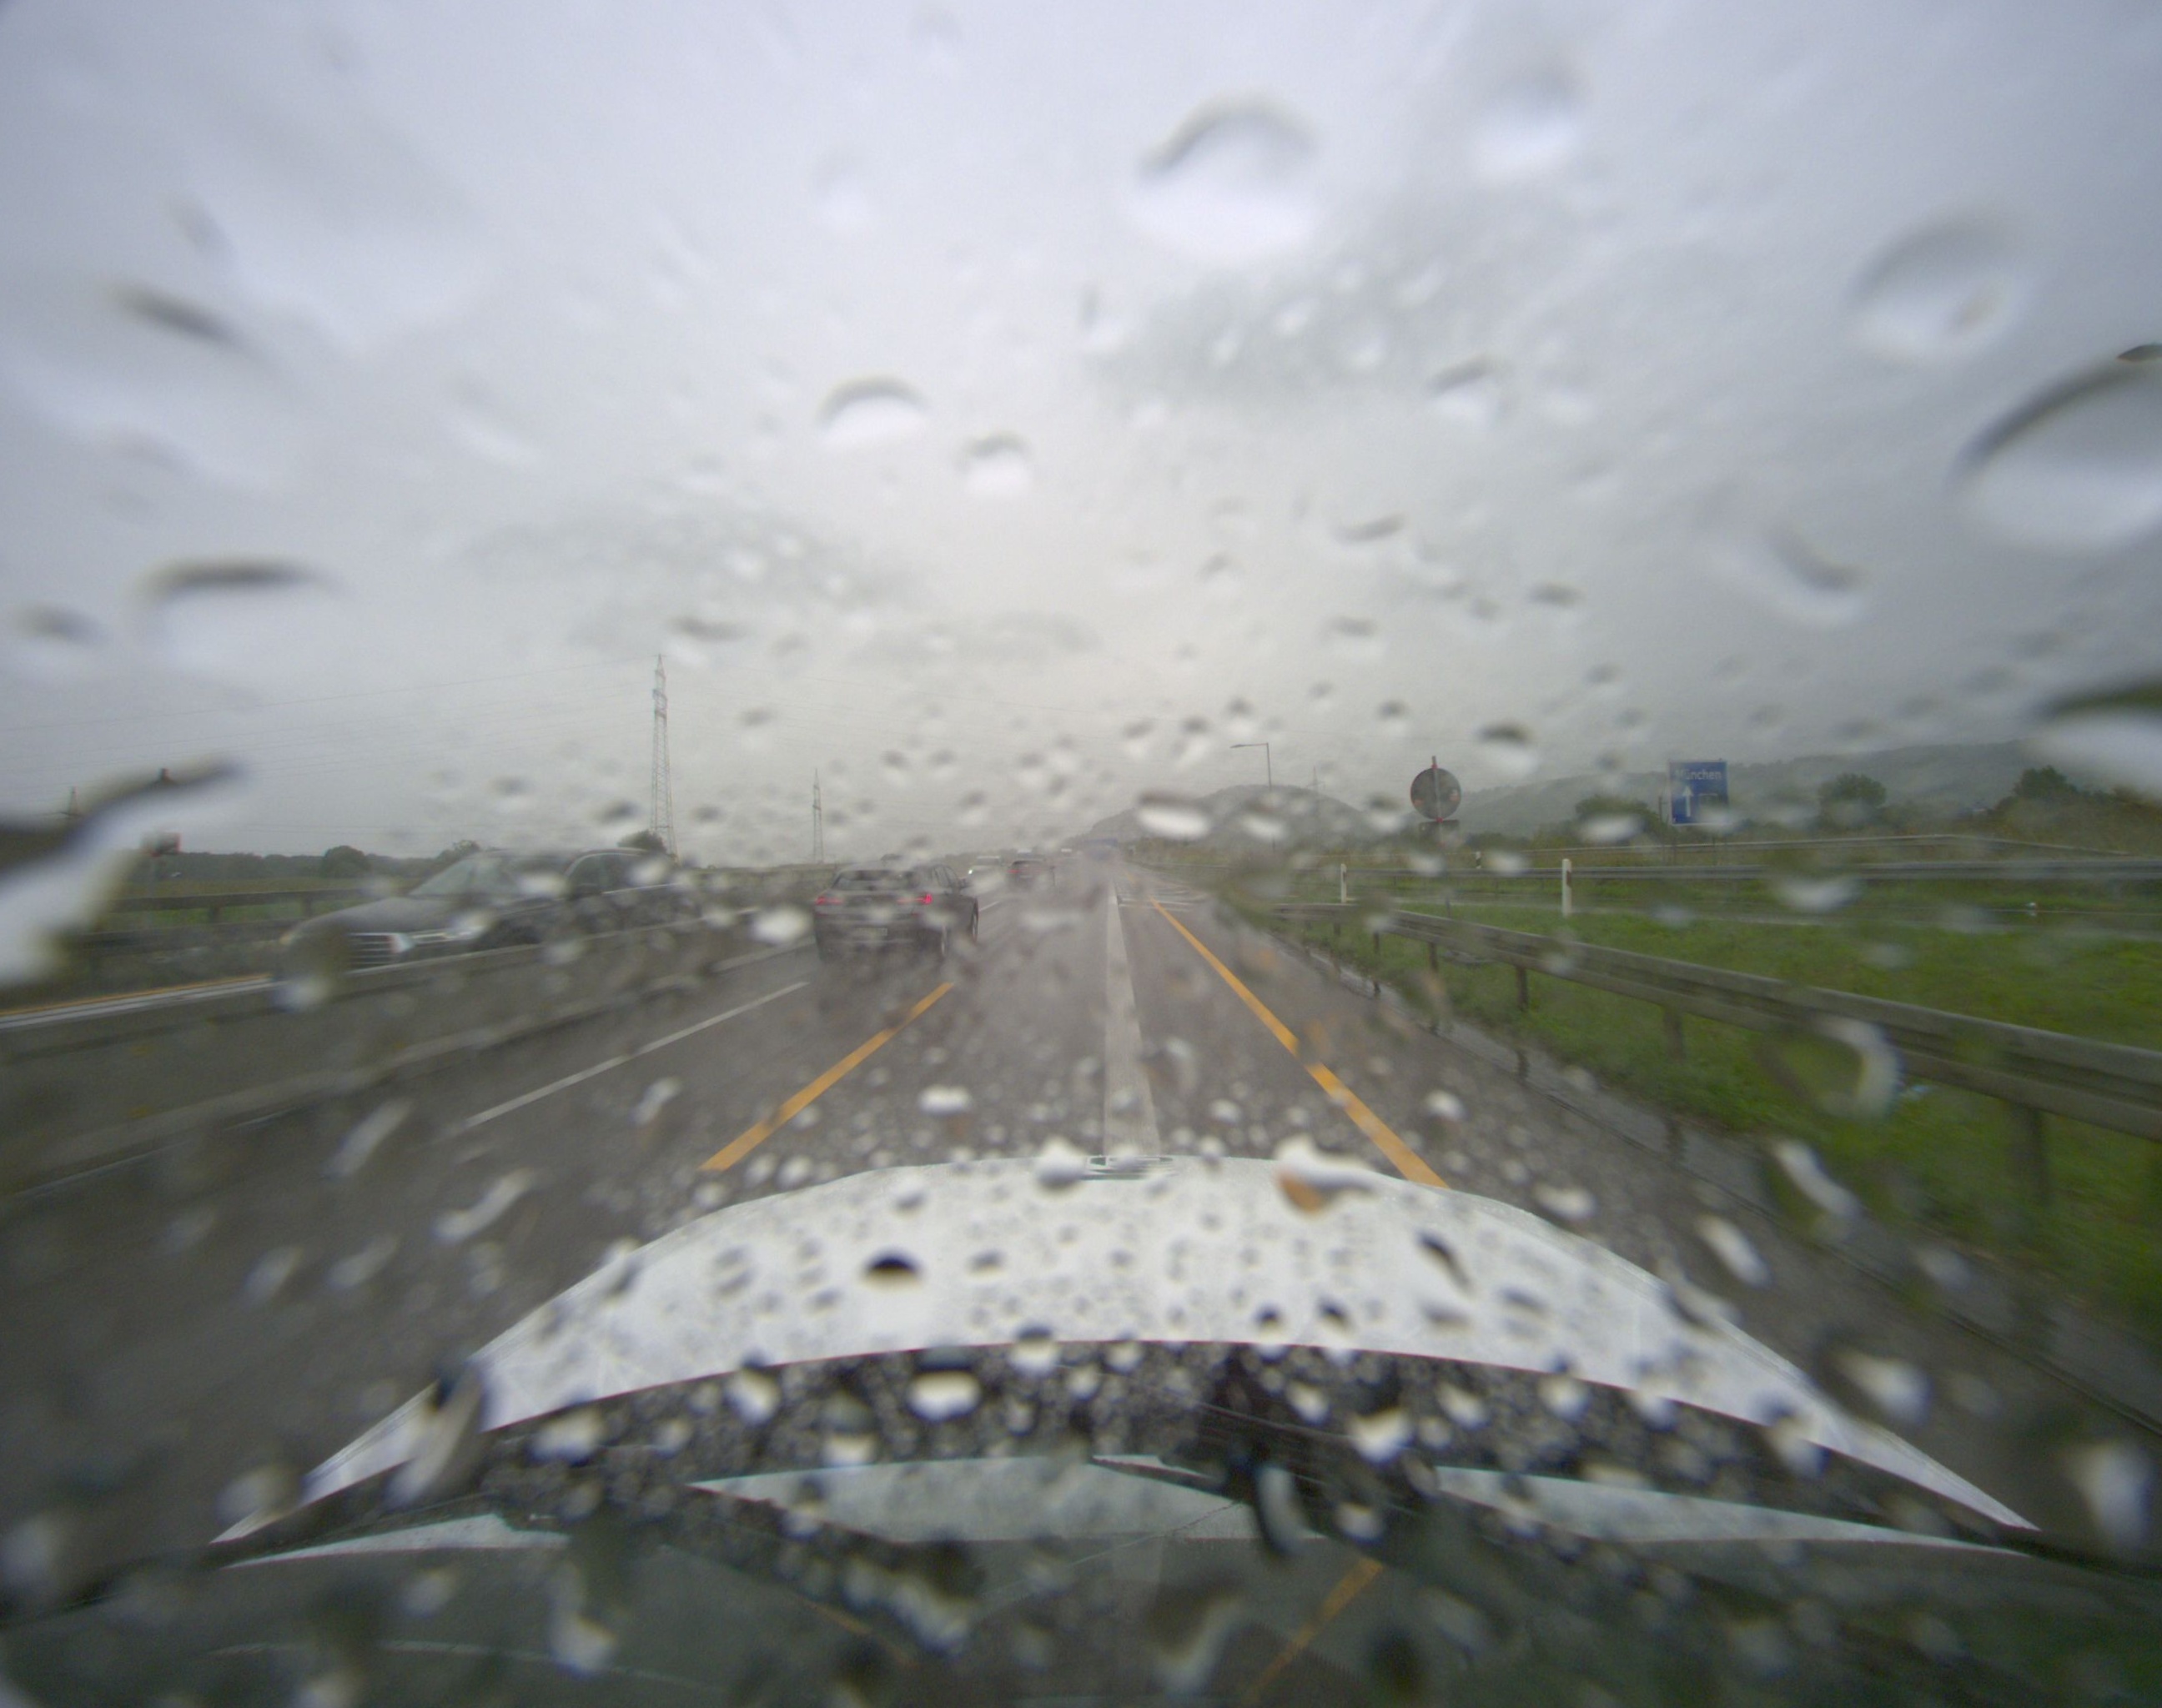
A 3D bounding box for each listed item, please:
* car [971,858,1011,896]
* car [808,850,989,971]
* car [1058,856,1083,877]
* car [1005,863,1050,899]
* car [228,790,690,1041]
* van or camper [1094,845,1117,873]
[{"bbox_3d":[-5.164,1.291,47.214,1.829,2.013,4.000,0,1,0],"label":"car"},{"bbox_3d":[-2.717,0.819,13.293,1.694,1.598,4.847,-1,-2,2],"label":"car"},{"bbox_3d":[-0.847,0.968,65.606,1.839,1.491,4.259,-3,0,-1],"label":"car"},{"bbox_3d":[-2.283,1.171,35.752,1.839,1.491,4.257,0,-2,-2],"label":"car"},{"bbox_3d":[-6.315,0.528,9.039,1.805,2.095,4.164,-2,0,1],"label":"car"},{"bbox_3d":[2.472,0.578,82.851,1.991,2.778,4.046,0,-2,-2],"label":"van or camper"}]
